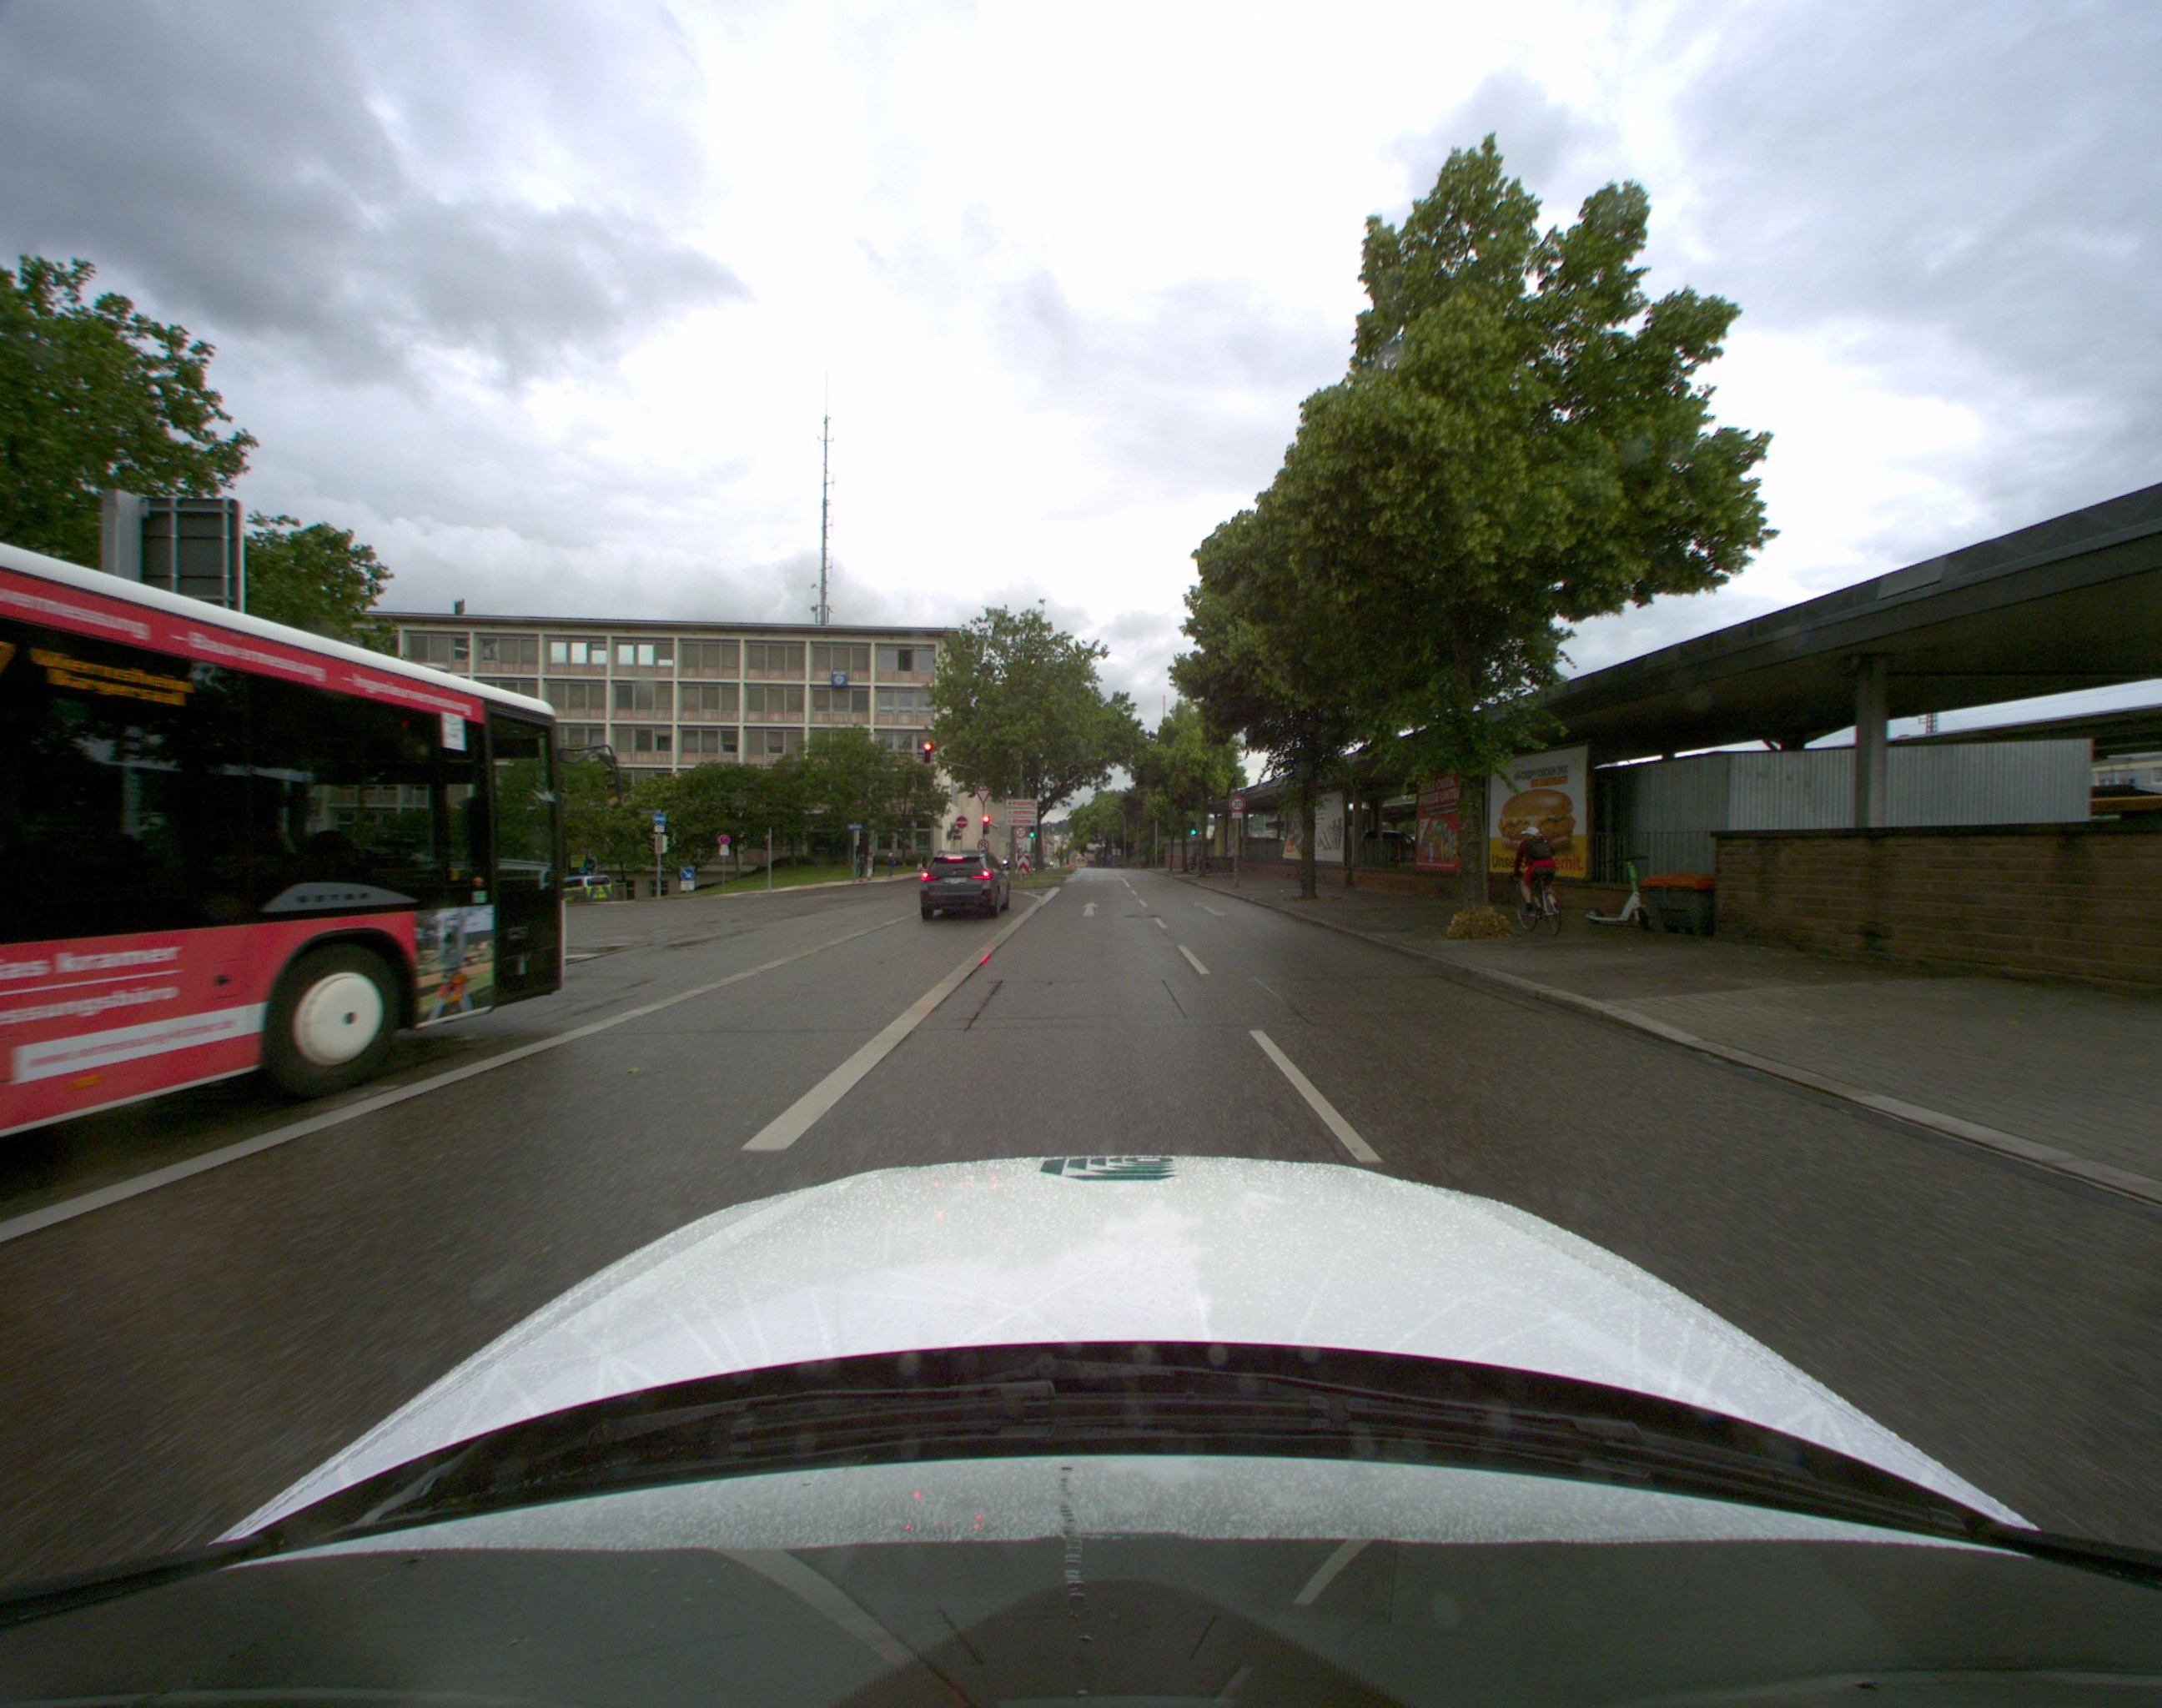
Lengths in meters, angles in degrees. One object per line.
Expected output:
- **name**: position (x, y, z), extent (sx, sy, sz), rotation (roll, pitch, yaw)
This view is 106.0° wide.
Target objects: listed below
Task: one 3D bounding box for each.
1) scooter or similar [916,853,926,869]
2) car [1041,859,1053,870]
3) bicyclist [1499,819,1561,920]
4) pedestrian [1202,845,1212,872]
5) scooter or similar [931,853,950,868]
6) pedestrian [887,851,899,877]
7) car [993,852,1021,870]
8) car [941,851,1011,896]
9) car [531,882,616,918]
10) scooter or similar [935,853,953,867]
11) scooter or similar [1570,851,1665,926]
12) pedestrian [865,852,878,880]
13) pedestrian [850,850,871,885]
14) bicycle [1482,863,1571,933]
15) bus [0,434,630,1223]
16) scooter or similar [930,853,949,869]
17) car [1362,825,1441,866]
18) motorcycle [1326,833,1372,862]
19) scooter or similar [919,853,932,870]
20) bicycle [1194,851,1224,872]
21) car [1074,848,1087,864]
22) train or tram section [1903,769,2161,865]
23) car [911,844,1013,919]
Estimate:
- **scooter or similar**: position (-11.562, 0.507, 58.857), extent (0.487, 1.167, 1.500), rotation (-1, 0, -3)
- **car**: position (-5.454, 1.670, 129.547), extent (1.817, 1.660, 4.333), rotation (-1, 0, -2)
- **bicyclist**: position (7.156, 0.240, 13.000), extent (0.532, 1.538, 0.694), rotation (-2, 0, -2)
- **pedestrian**: position (7.356, 0.273, 47.615), extent (0.452, 1.568, 0.396), rotation (-1, 0, 32)
- **scooter or similar**: position (-11.358, 0.507, 65.723), extent (0.601, 1.192, 1.538), rotation (-1, 0, 34)
- **pedestrian**: position (-11.697, 0.627, 50.785), extent (0.653, 1.603, 0.921), rotation (-1, 0, -11)
- **car**: position (-6.448, 0.636, 71.690), extent (1.834, 1.508, 4.105), rotation (2, -1, 3)
- **car**: position (-3.752, 0.628, 28.382), extent (1.819, 1.409, 4.391), rotation (-1, 0, -15)
- **car**: position (-30.943, 2.812, 49.676), extent (4.534, 1.964, 2.010), rotation (-3, -1, 21)
- **scooter or similar**: position (-11.264, 0.492, 67.047), extent (0.601, 1.164, 1.538), rotation (-1, 0, 34)
- **scooter or similar**: position (8.816, 0.539, 13.452), extent (0.491, 1.153, 1.544), rotation (-1, 0, -2)
- **pedestrian**: position (-12.883, 0.726, 50.082), extent (0.652, 1.710, 0.795), rotation (-1, 0, -8)
- **pedestrian**: position (-13.274, 0.799, 48.990), extent (0.930, 2.045, 0.875), rotation (-1, 0, 7)
- **bicycle**: position (7.145, 0.671, 13.152), extent (0.445, 1.016, 1.676), rotation (-3, 0, -1)
- **bus**: position (-6.168, -0.087, 2.205), extent (2.946, 3.439, 12.555), rotation (-1, 0, -1)
- **scooter or similar**: position (-11.172, 0.533, 64.407), extent (0.601, 1.192, 1.538), rotation (-1, 0, 34)
- **car**: position (15.475, -0.409, 39.614), extent (1.988, 1.871, 4.596), rotation (0, 0, -1)
- **motorcycle**: position (15.021, -0.363, 45.656), extent (2.334, 1.610, 0.694), rotation (0, 0, 0)
- **scooter or similar**: position (-11.550, 0.537, 60.472), extent (0.567, 1.192, 1.576), rotation (-1, 0, 4)
- **bicycle**: position (7.531, 0.438, 48.035), extent (1.703, 1.249, 0.489), rotation (-1, 0, 32)
- **car**: position (-0.043, 0.343, 148.298), extent (2.257, 2.656, 3.998), rotation (-1, 0, -1)
- **train or tram section**: position (38.270, -1.320, 31.789), extent (2.646, 3.282, 9.517), rotation (-2, 0, 0)
- **car**: position (-2.879, 0.614, 20.622), extent (1.958, 1.640, 4.357), rotation (-1, 0, -1)
